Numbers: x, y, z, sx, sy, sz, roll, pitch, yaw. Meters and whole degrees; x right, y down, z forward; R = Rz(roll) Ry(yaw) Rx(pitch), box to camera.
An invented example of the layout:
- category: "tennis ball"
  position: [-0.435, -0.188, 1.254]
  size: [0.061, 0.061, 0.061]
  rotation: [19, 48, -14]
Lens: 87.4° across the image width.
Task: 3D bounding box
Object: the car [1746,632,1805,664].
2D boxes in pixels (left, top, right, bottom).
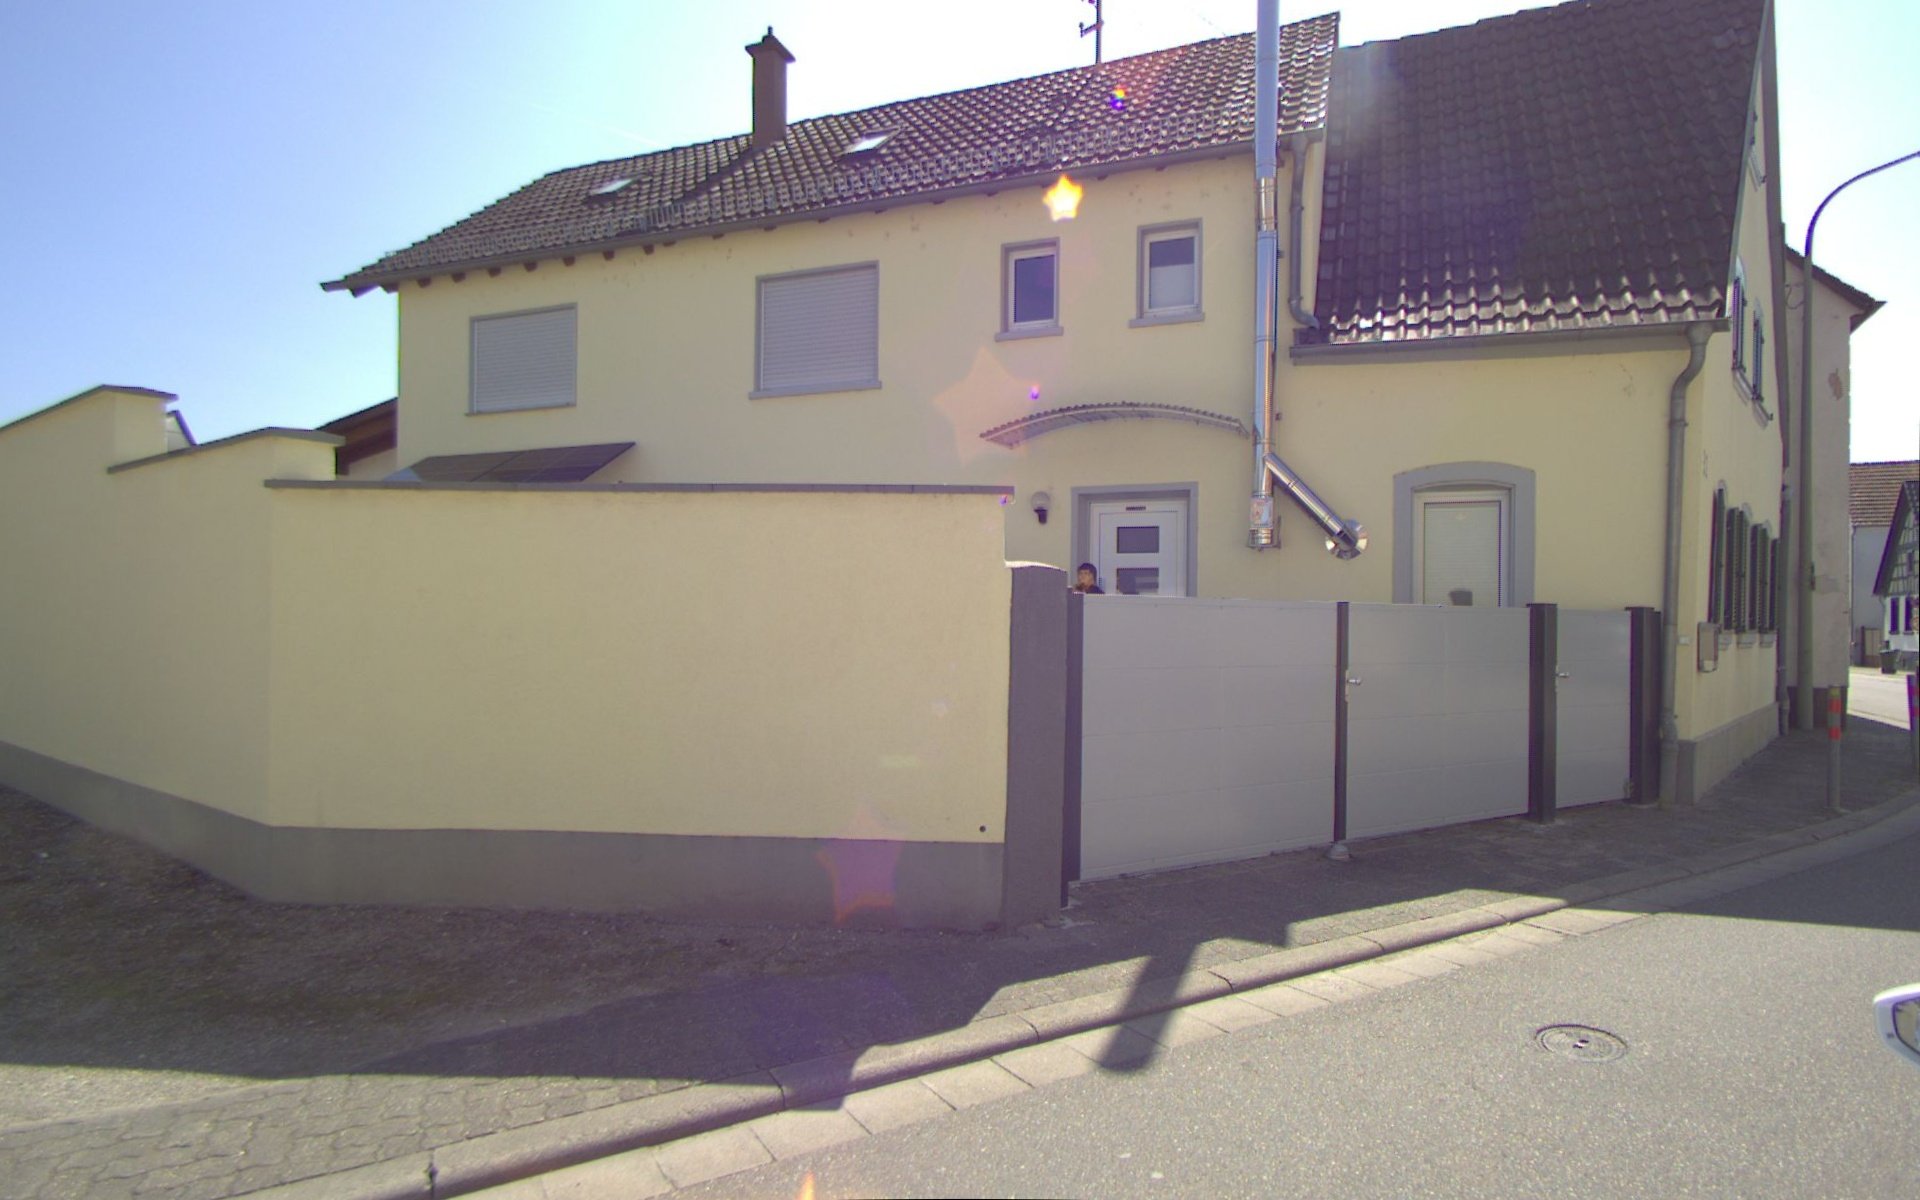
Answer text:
- category: "car"
  position: [44.080, 2.563, 54.374]
  size: [1.771, 1.581, 4.623]
  rotation: [0, -1, 30]

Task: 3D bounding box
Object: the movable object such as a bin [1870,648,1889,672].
- category: "movable object such as a bin"
  position: [37.418, 2.437, 40.866]
  size: [0.548, 0.925, 0.533]
  rotation: [2, -1, -43]

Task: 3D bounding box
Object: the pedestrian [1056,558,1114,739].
- category: "pedestrian"
  position: [1.184, 0.450, 9.531]
  size: [0.398, 1.666, 0.446]
  rotation: [2, 0, -8]
